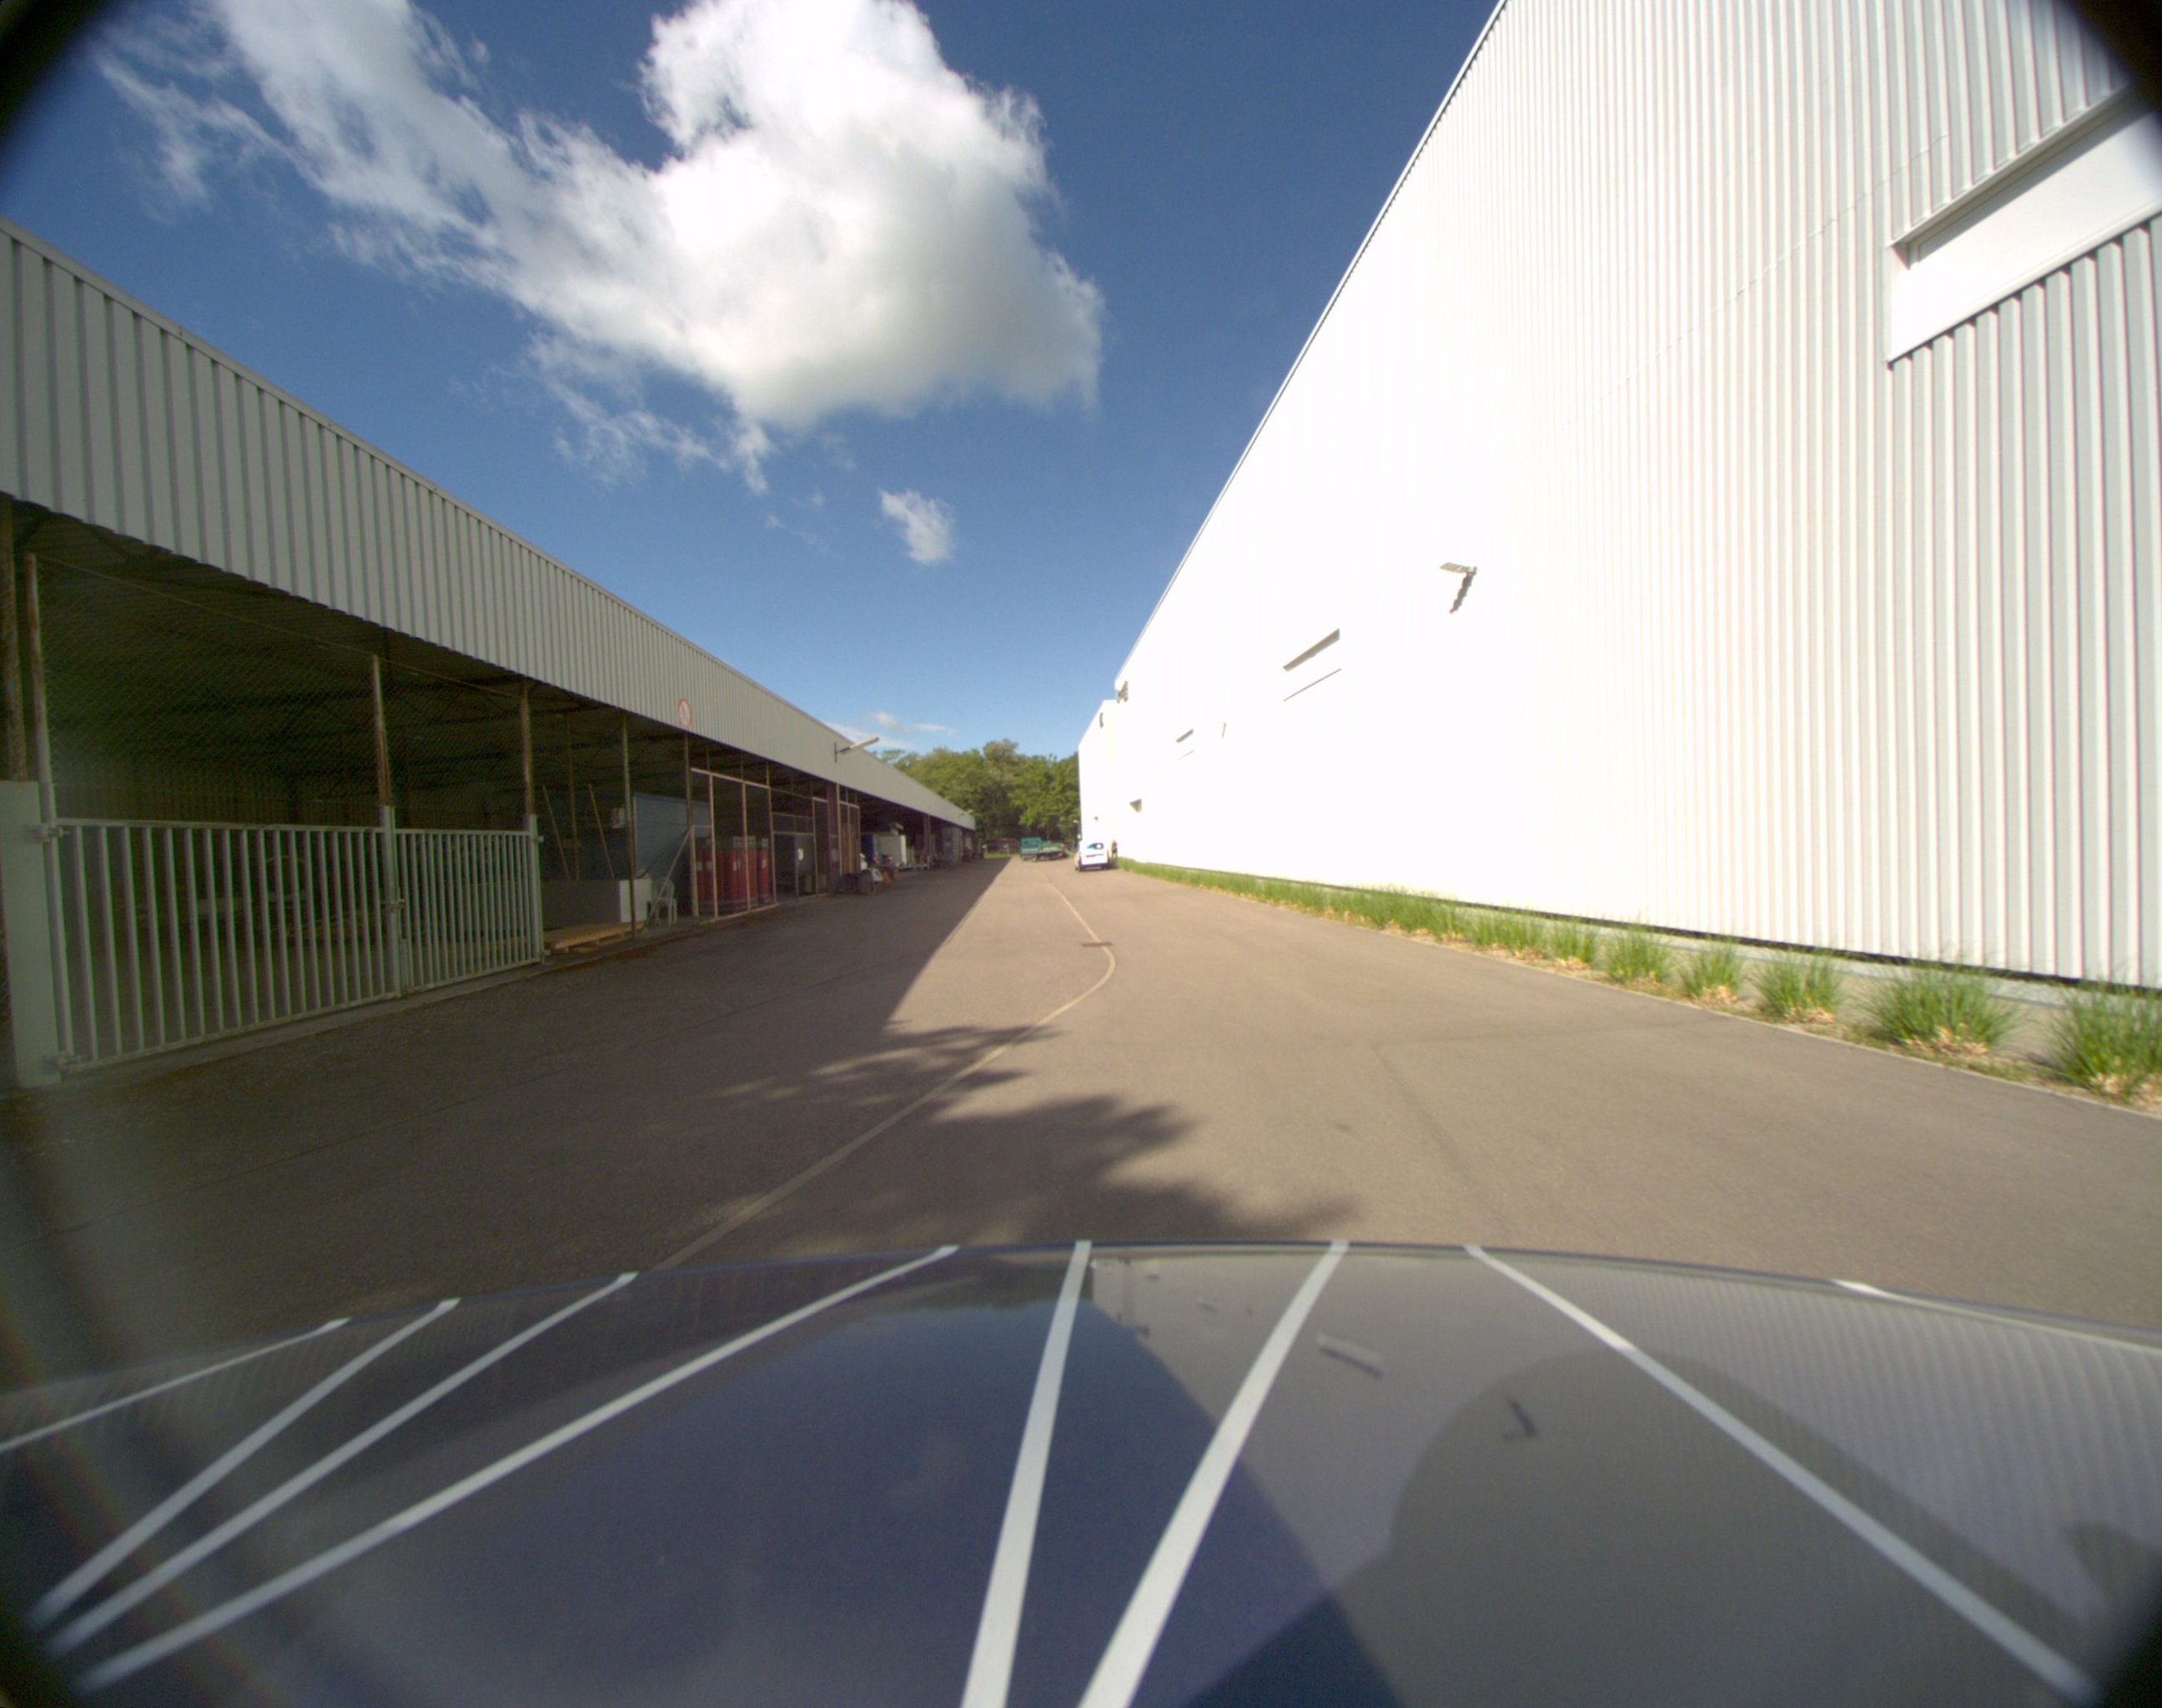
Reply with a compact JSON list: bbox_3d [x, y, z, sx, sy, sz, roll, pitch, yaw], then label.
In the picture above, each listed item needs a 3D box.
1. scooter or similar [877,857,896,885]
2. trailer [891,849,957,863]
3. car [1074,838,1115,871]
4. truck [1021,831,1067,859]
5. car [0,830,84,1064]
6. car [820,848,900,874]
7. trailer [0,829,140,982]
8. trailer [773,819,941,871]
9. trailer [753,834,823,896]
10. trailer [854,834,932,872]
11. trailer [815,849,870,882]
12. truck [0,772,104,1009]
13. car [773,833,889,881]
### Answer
[{"bbox_3d":[-8.605,0.729,33.668,0.522,1.128,1.591,-1,2,-5],"label":"scooter or similar"},{"bbox_3d":[-14.335,0.203,69.556,5.751,1.126,2.007,-1,1,-6],"label":"trailer"},{"bbox_3d":[0.759,-0.020,45.381,1.934,1.780,4.595,-3,1,-4],"label":"car"},{"bbox_3d":[-4.191,-0.907,82.835,2.590,2.701,9.680,-5,1,-17],"label":"truck"},{"bbox_3d":[-11.321,0.867,5.207,5.182,1.907,2.276,-2,2,-10],"label":"car"},{"bbox_3d":[-13.127,0.393,45.373,4.358,1.425,1.863,-1,2,-8],"label":"car"},{"bbox_3d":[-16.747,0.750,10.836,3.413,2.126,2.463,-1,1,-2],"label":"trailer"},{"bbox_3d":[-14.669,-0.599,50.360,10.322,3.276,2.674,0,1,-4],"label":"trailer"},{"bbox_3d":[-10.762,0.337,28.163,1.582,2.131,3.518,-1,1,-7],"label":"trailer"},{"bbox_3d":[-11.832,-0.089,48.067,4.555,2.322,1.687,0,1,-4],"label":"trailer"},{"bbox_3d":[-11.454,0.550,36.624,2.099,1.454,1.640,-1,2,-1],"label":"trailer"},{"bbox_3d":[-15.043,0.484,8.137,5.582,2.691,2.364,-1,1,-5],"label":"truck"},{"bbox_3d":[-12.782,0.129,39.118,5.231,2.284,2.082,-1,2,-5],"label":"car"}]
